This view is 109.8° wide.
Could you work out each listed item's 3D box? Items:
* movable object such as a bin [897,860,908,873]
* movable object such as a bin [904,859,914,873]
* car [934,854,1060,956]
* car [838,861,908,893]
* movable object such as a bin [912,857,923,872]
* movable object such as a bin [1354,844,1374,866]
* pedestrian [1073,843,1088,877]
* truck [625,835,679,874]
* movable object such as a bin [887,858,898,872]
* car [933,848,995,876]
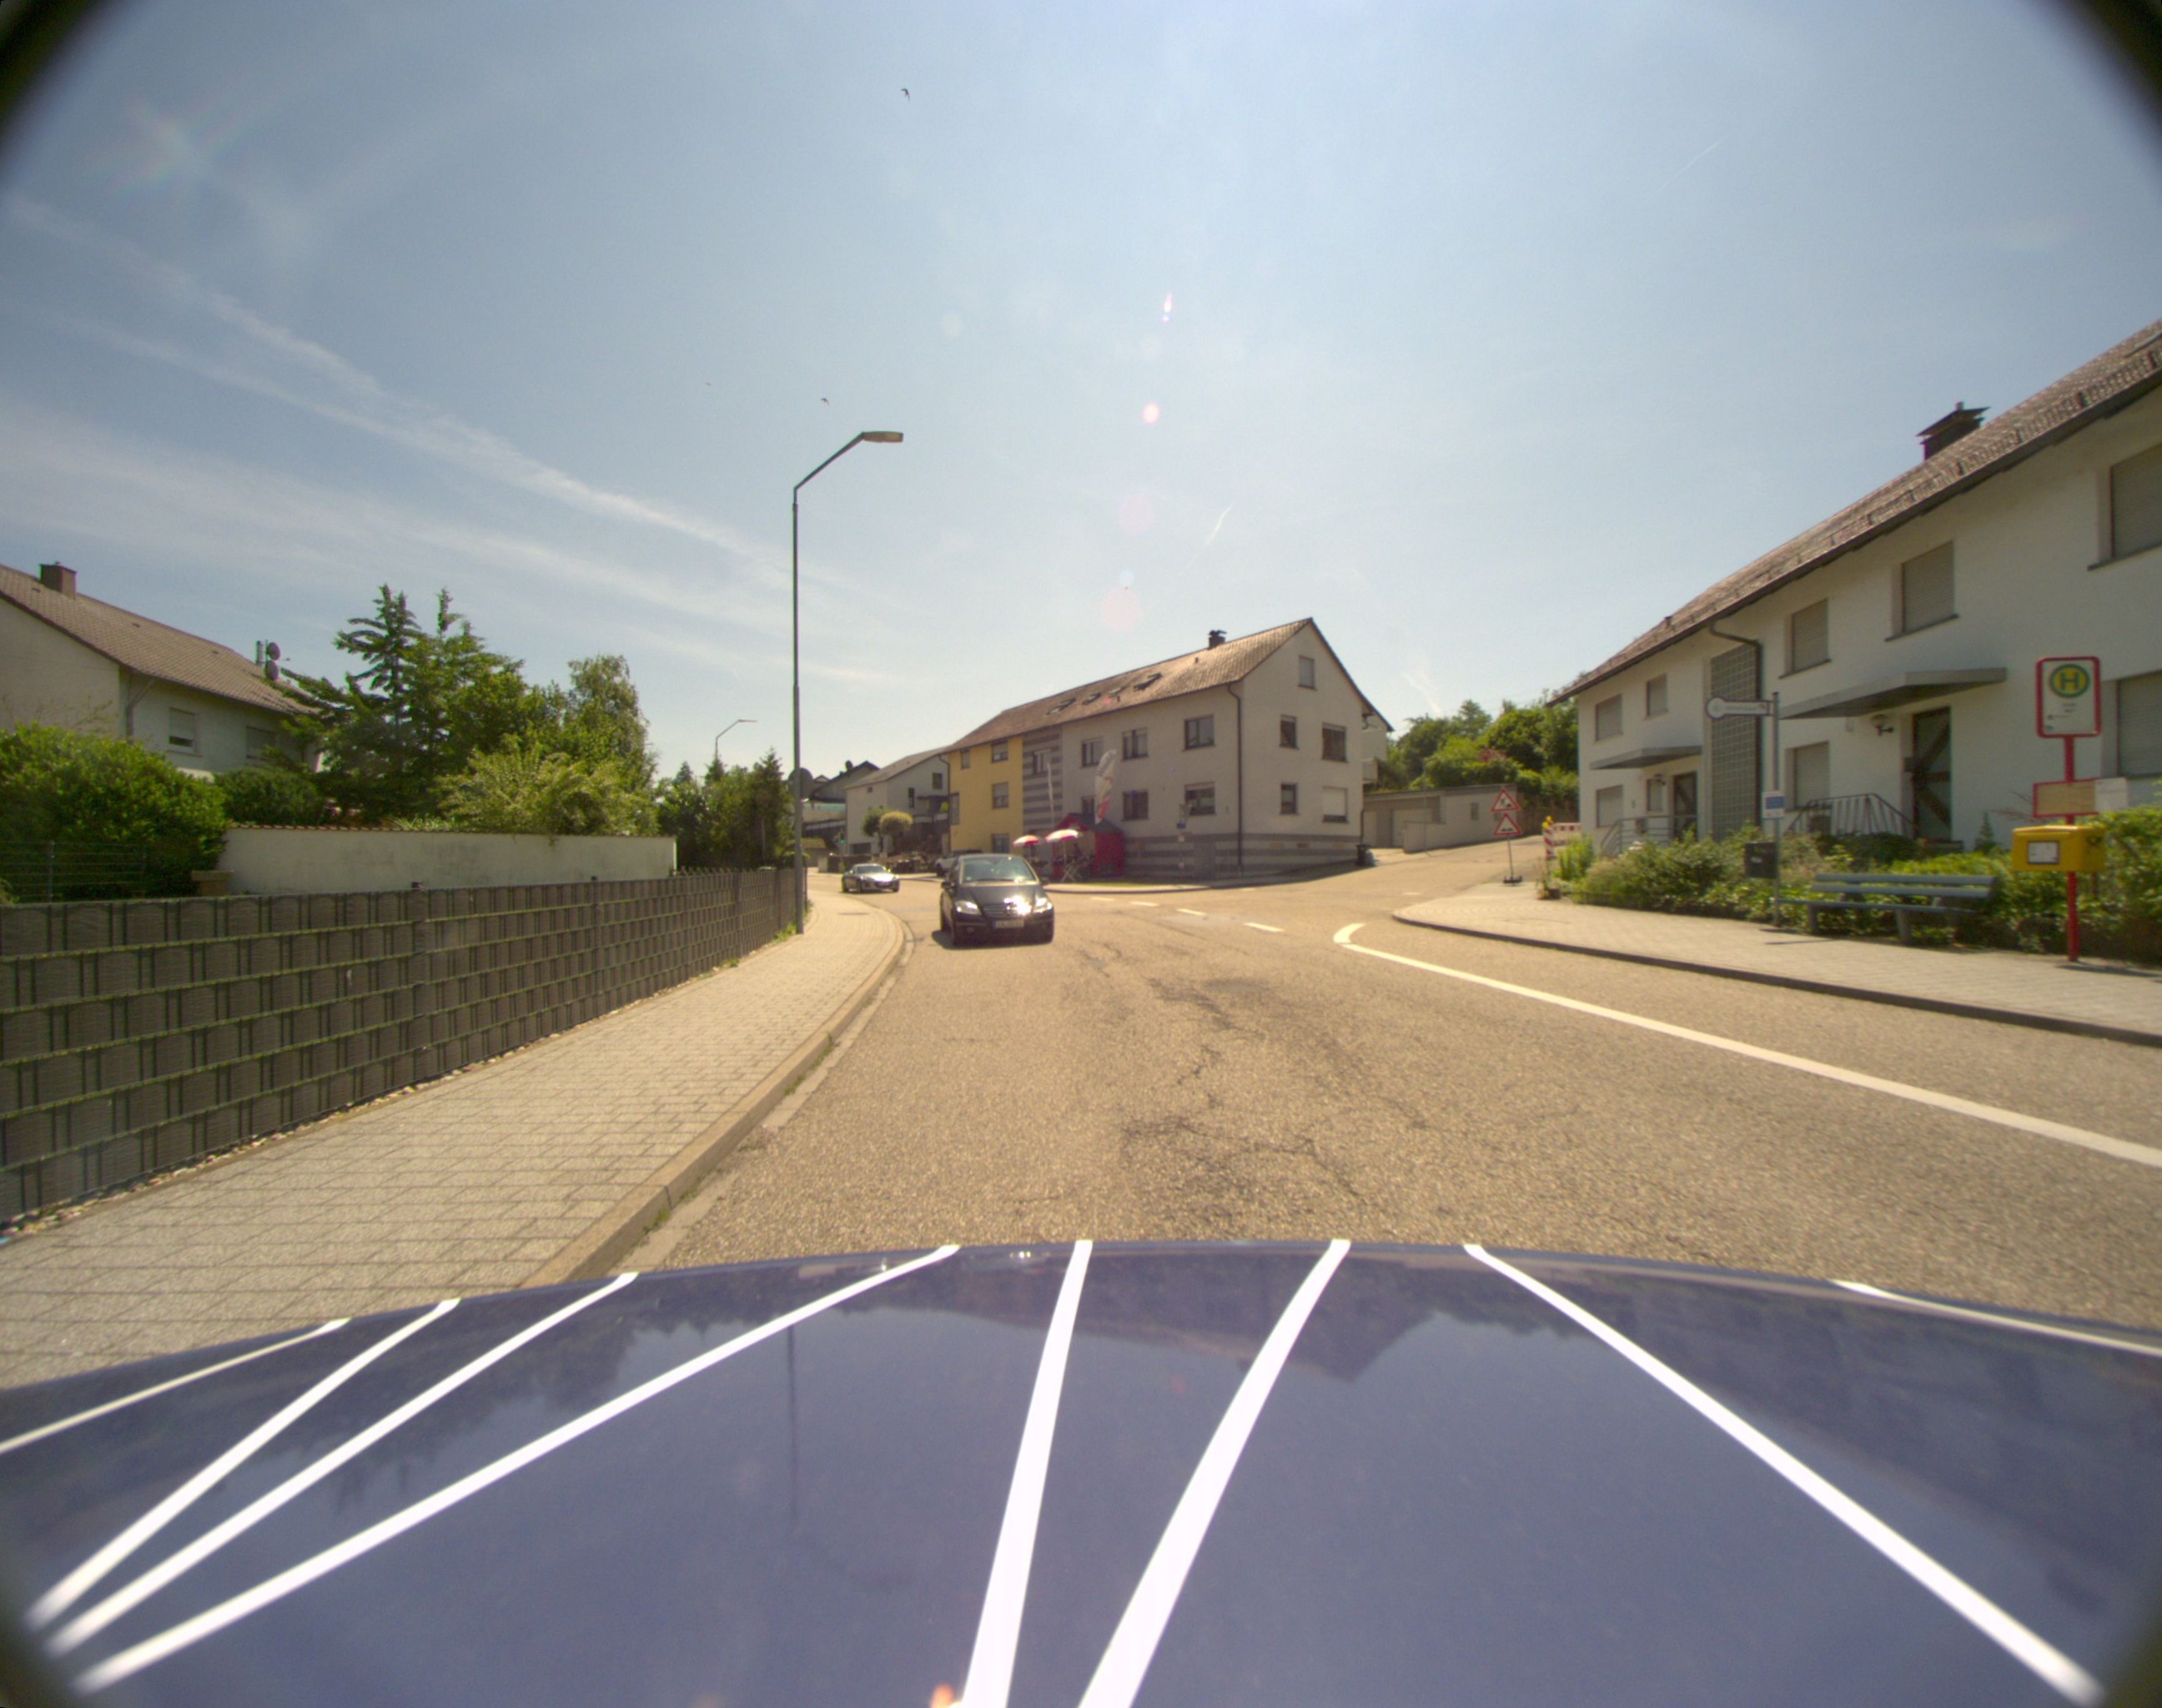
[{"bbox_3d":[-12.113,0.844,51.556,0.449,0.923,0.560,-2,2,-39],"label":"movable object such as a bin"},{"bbox_3d":[-11.731,0.820,51.904,0.449,0.933,0.529,-2,1,-39],"label":"movable object such as a bin"},{"bbox_3d":[-1.777,0.841,14.721,1.766,1.583,4.192,-2,1,-15],"label":"car"},{"bbox_3d":[-9.231,0.968,33.495,1.818,1.306,3.990,-1,0,-34],"label":"car"},{"bbox_3d":[-11.259,0.731,52.193,0.473,1.049,0.632,-2,2,-39],"label":"movable object such as a bin"},{"bbox_3d":[11.979,0.026,32.150,0.601,0.928,0.599,-1,1,-40],"label":"movable object such as a bin"},{"bbox_3d":[-0.015,0.289,35.623,0.613,1.578,0.808,-1,1,-5],"label":"pedestrian"},{"bbox_3d":[-42.567,0.046,75.297,3.213,3.577,8.283,3,-2,-39],"label":"truck"},{"bbox_3d":[-12.684,0.715,51.130,0.503,0.942,0.552,-2,2,-39],"label":"movable object such as a bin"},{"bbox_3d":[-6.849,0.427,44.273,1.739,1.543,4.177,-2,1,-38],"label":"car"}]
